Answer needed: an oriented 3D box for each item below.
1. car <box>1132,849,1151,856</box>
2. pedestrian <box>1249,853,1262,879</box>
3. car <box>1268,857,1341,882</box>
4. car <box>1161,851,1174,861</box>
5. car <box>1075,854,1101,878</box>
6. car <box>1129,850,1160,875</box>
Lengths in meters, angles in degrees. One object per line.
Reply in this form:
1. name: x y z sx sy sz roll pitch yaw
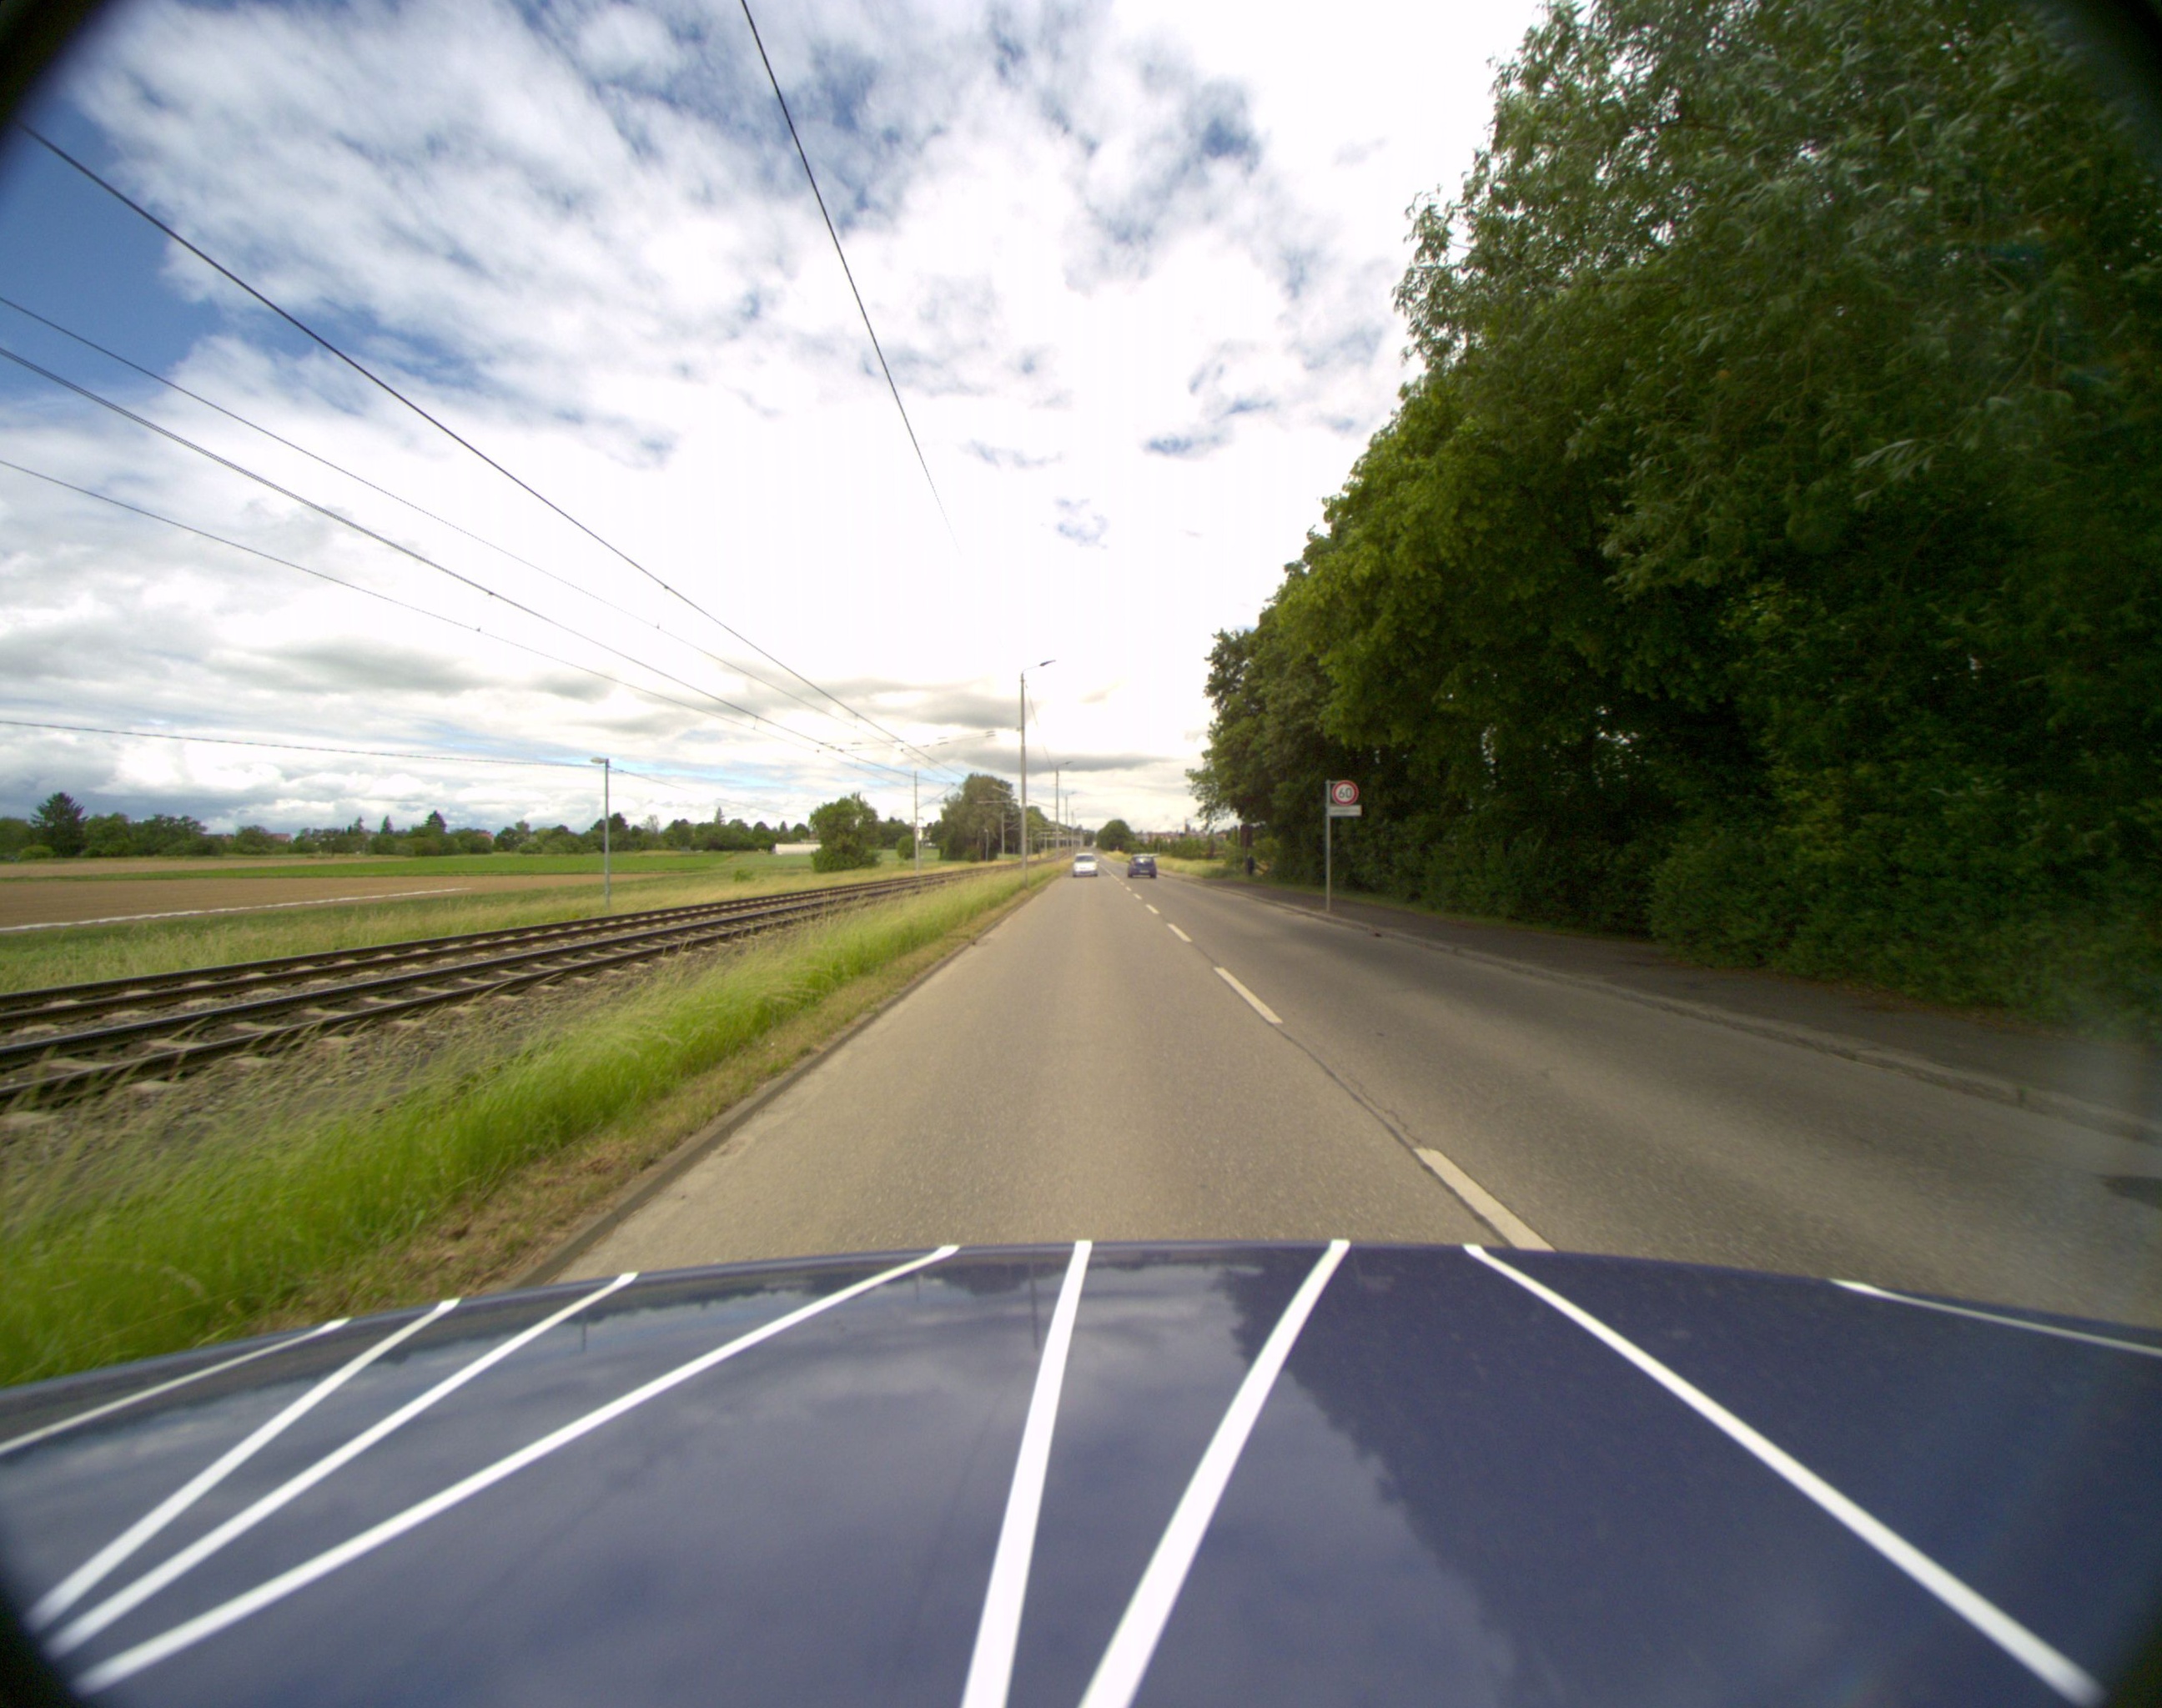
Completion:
1. car: 11.691 -0.293 147.047 3.216 1.244 1.455 -1 1 29
2. pedestrian: 10.796 0.742 47.030 0.706 1.584 0.707 -1 -1 11
3. car: 13.500 0.936 46.090 3.994 1.304 1.745 2 1 8
4. car: 12.167 0.312 107.602 1.451 1.244 3.599 -2 1 1
5. car: 0.505 0.789 52.235 1.643 1.510 3.868 -2 1 1
6. car: 4.086 0.537 49.054 1.711 1.519 3.824 1 1 1
